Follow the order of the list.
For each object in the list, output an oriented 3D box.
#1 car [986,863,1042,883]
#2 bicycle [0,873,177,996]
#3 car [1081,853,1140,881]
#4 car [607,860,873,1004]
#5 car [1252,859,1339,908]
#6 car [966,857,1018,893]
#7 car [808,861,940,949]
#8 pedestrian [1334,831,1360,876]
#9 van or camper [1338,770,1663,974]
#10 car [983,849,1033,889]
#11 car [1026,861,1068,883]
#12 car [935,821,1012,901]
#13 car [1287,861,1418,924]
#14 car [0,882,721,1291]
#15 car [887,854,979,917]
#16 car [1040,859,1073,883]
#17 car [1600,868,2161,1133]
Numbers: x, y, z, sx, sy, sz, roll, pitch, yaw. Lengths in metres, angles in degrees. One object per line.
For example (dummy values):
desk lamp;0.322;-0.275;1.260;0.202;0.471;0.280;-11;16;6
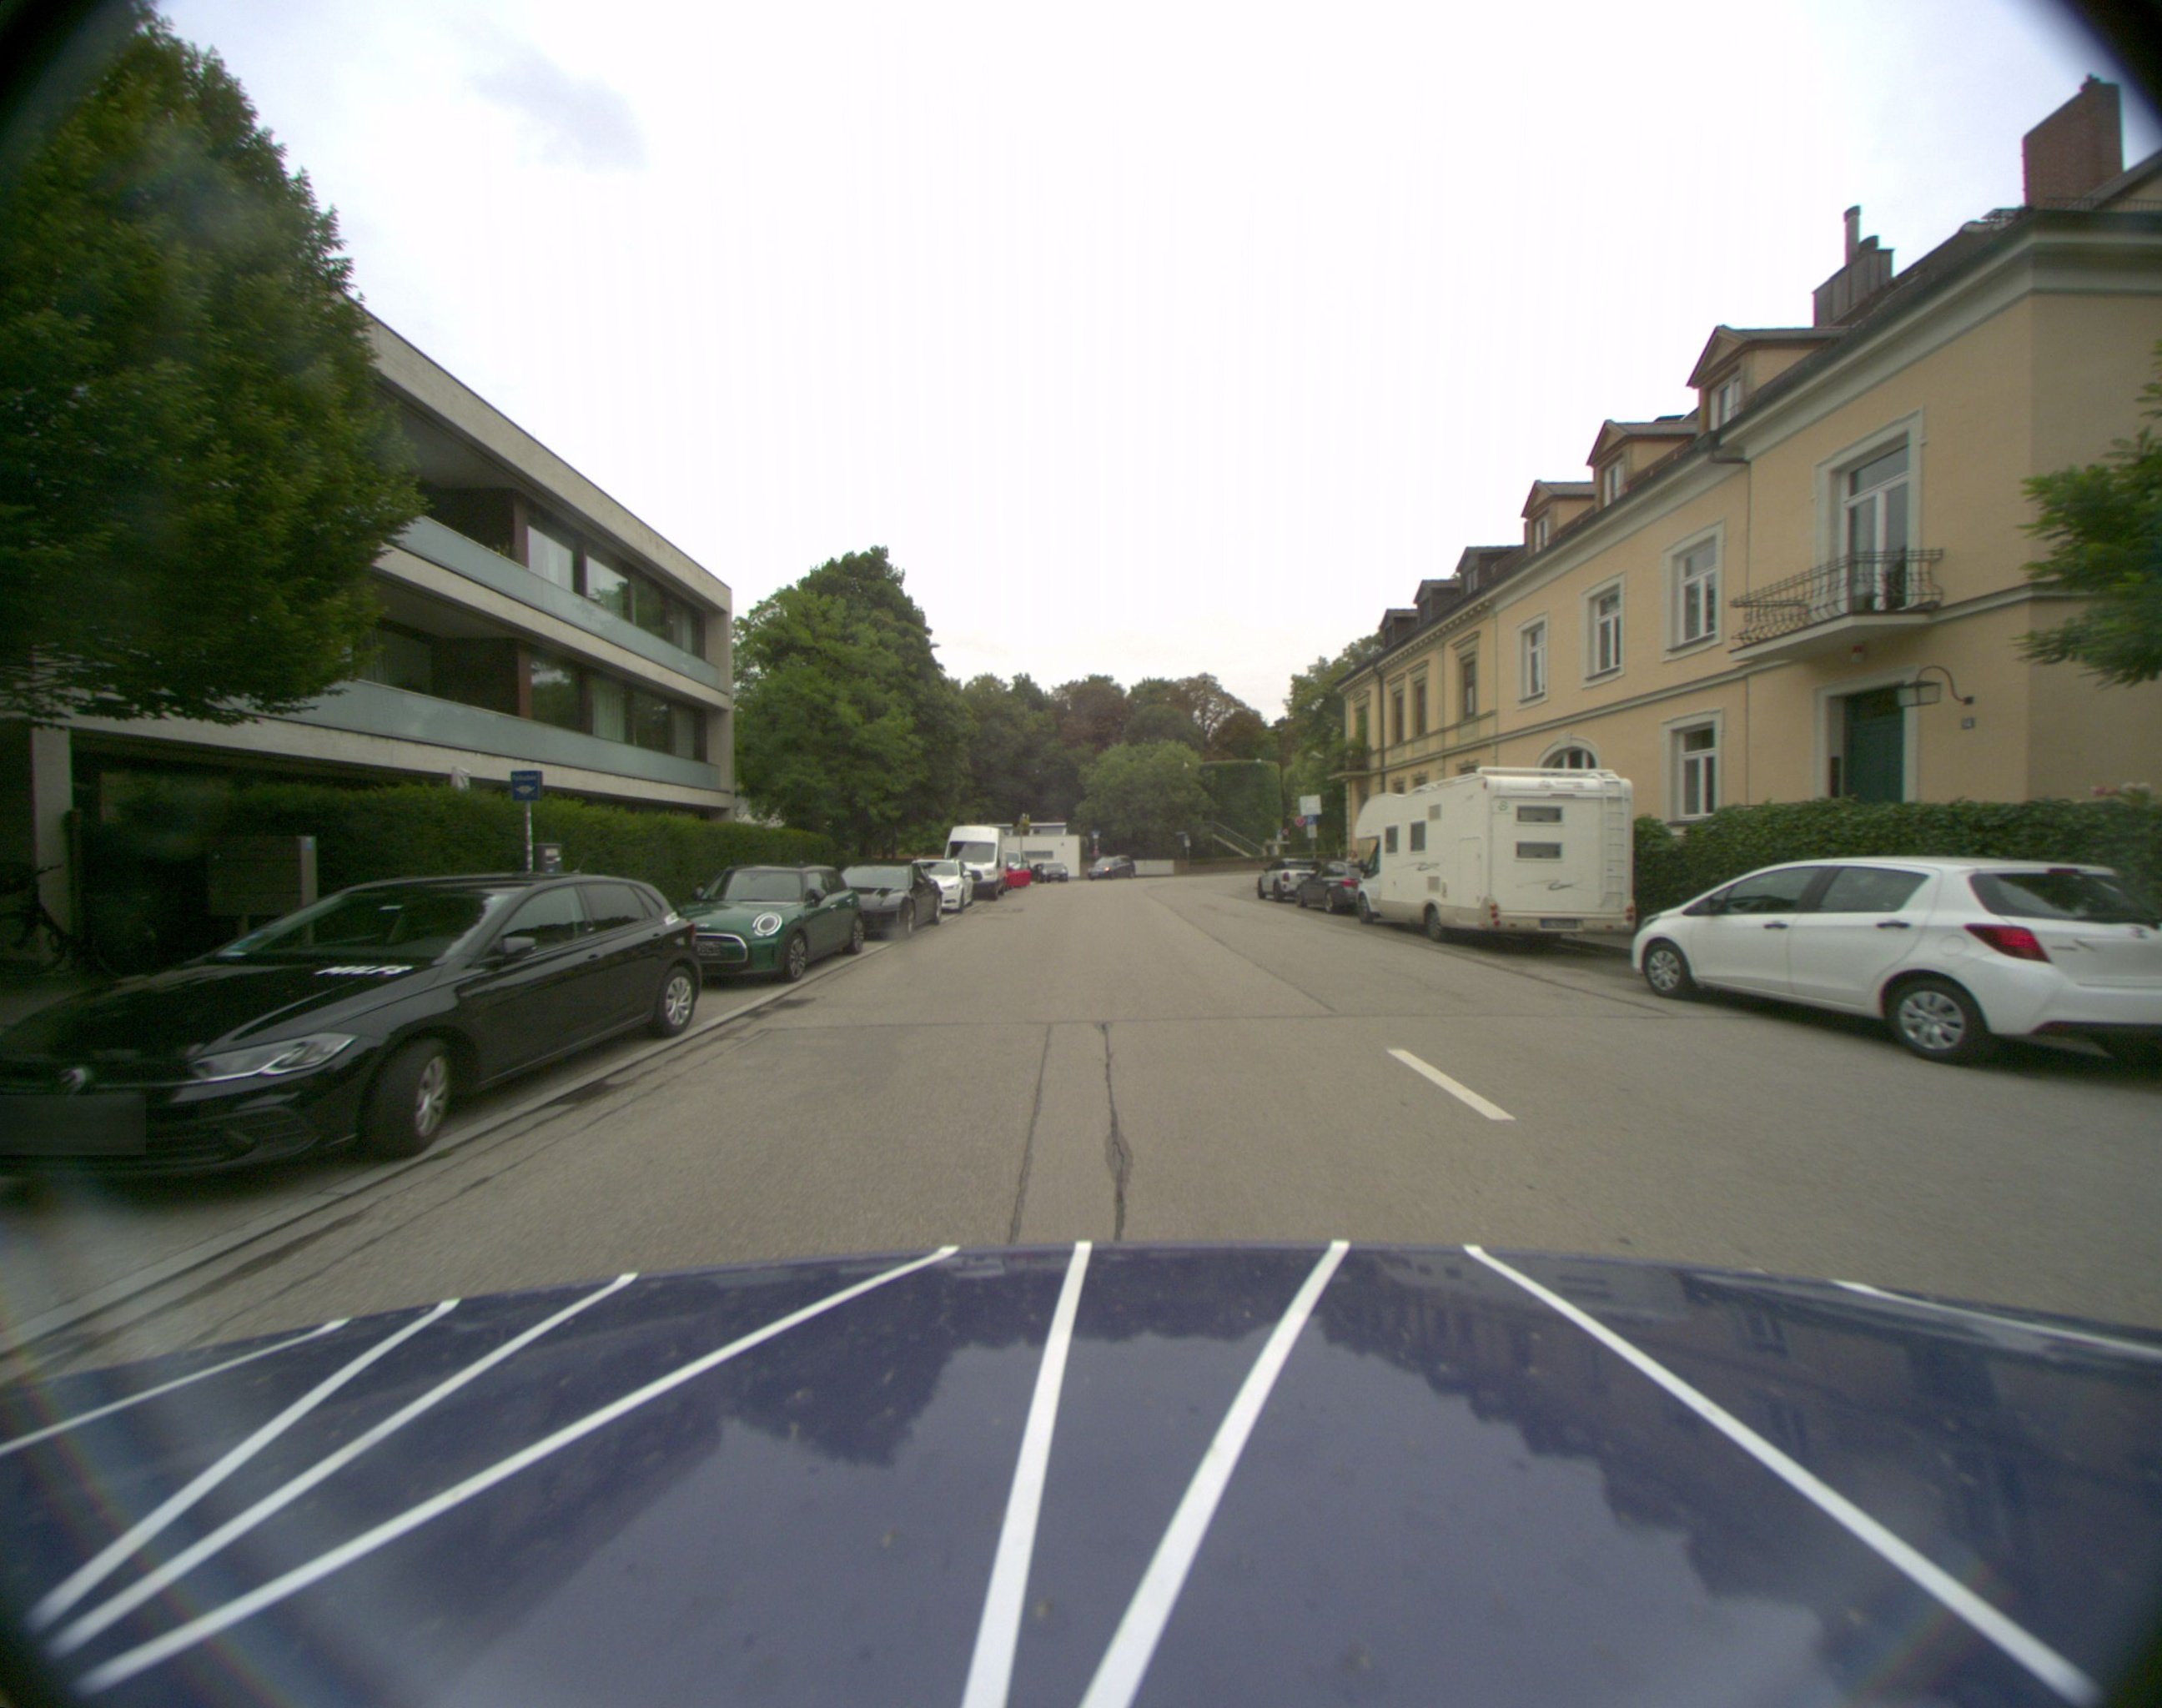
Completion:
car;-5.288;1.534;59.785;4.004;1.437;1.946;-3;-3;34
bicycle;-10.722;0.826;7.941;1.790;1.211;0.554;1;1;-4
car;2.013;0.918;51.114;1.995;1.682;4.344;-5;-4;32
car;-4.322;0.871;10.444;1.731;1.520;4.204;1;0;0
car;7.675;0.995;27.634;1.940;1.526;4.531;2;0;2
car;-4.028;0.914;35.034;1.875;1.498;4.837;2;0;-1
car;-4.097;0.914;15.891;1.284;1.497;5.207;2;0;0
pedestrian;9.720;-0.006;27.764;0.655;1.594;0.740;-2;0;2
van or camper;7.350;0.260;14.731;2.461;2.923;7.212;1;0;2
car;-3.784;0.762;40.266;1.939;1.893;5.072;2;0;1
car;-2.554;1.319;55.761;1.899;1.437;4.009;-3;-2;-20
car;-3.912;0.265;28.801;2.085;2.670;6.088;2;0;-1
car;7.571;0.999;21.762;1.941;1.499;4.821;2;0;0
car;-4.309;0.992;5.104;1.752;1.455;4.242;0;0;0
car;-4.148;0.843;22.099;1.876;1.560;5.001;2;-1;-3
car;-1.717;1.149;51.444;1.897;1.438;4.267;-3;-1;-6
car;6.964;0.952;6.754;1.783;1.526;4.228;2;0;0
